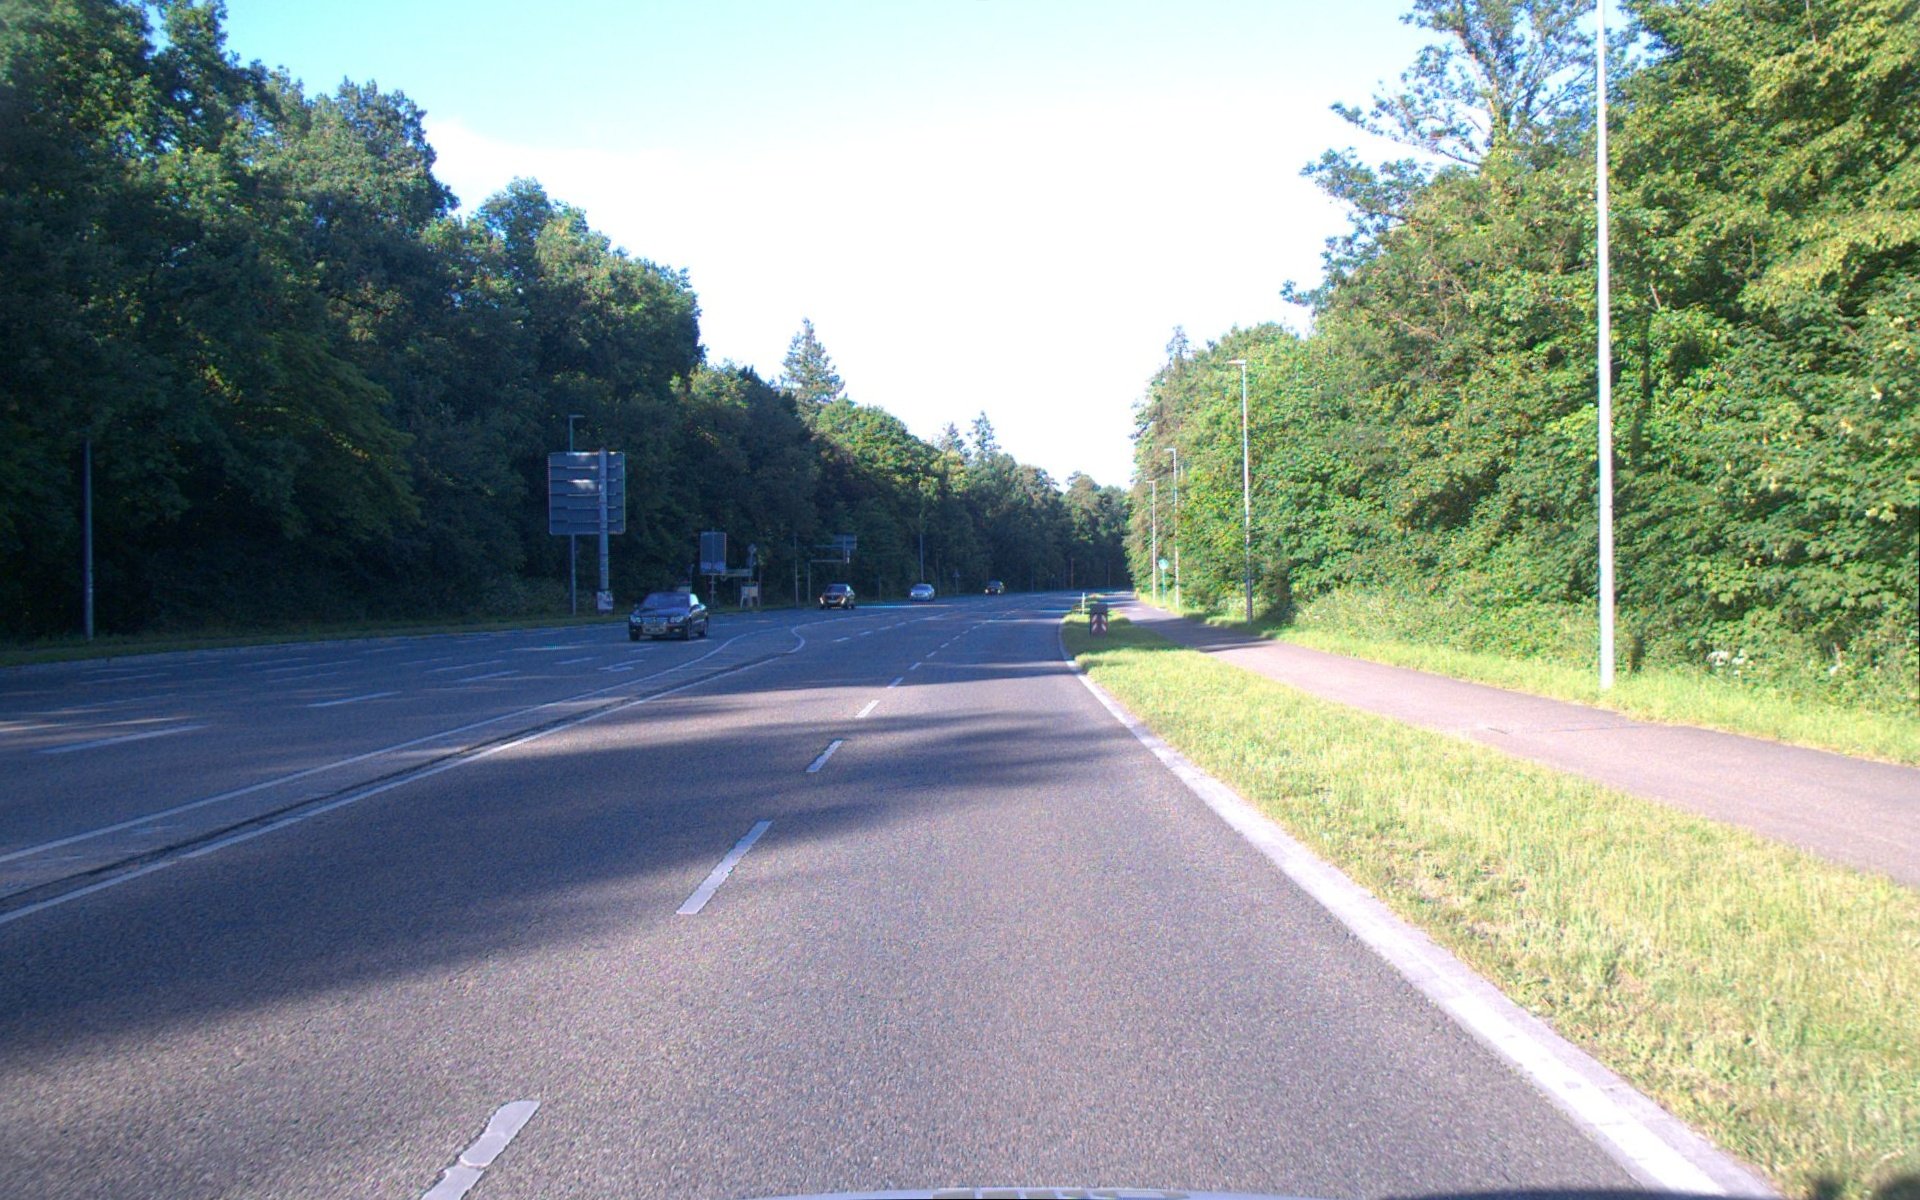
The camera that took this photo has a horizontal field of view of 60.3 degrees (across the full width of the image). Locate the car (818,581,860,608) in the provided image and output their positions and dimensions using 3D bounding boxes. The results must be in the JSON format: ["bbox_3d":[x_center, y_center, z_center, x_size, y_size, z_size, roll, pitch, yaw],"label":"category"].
[{"bbox_3d":[-7.462,-0.356,102.359,1.786,1.571,4.260,0,1,7],"label":"car"}]

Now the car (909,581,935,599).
[{"bbox_3d":[-3.306,-0.845,143.448,1.786,1.530,4.309,0,1,5],"label":"car"}]

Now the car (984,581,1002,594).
[{"bbox_3d":[3.932,-1.510,197.289,1.786,1.617,4.354,0,1,5],"label":"car"}]

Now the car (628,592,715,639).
[{"bbox_3d":[-8.399,0.427,48.472,1.708,1.256,4.673,-1,1,0],"label":"car"}]
